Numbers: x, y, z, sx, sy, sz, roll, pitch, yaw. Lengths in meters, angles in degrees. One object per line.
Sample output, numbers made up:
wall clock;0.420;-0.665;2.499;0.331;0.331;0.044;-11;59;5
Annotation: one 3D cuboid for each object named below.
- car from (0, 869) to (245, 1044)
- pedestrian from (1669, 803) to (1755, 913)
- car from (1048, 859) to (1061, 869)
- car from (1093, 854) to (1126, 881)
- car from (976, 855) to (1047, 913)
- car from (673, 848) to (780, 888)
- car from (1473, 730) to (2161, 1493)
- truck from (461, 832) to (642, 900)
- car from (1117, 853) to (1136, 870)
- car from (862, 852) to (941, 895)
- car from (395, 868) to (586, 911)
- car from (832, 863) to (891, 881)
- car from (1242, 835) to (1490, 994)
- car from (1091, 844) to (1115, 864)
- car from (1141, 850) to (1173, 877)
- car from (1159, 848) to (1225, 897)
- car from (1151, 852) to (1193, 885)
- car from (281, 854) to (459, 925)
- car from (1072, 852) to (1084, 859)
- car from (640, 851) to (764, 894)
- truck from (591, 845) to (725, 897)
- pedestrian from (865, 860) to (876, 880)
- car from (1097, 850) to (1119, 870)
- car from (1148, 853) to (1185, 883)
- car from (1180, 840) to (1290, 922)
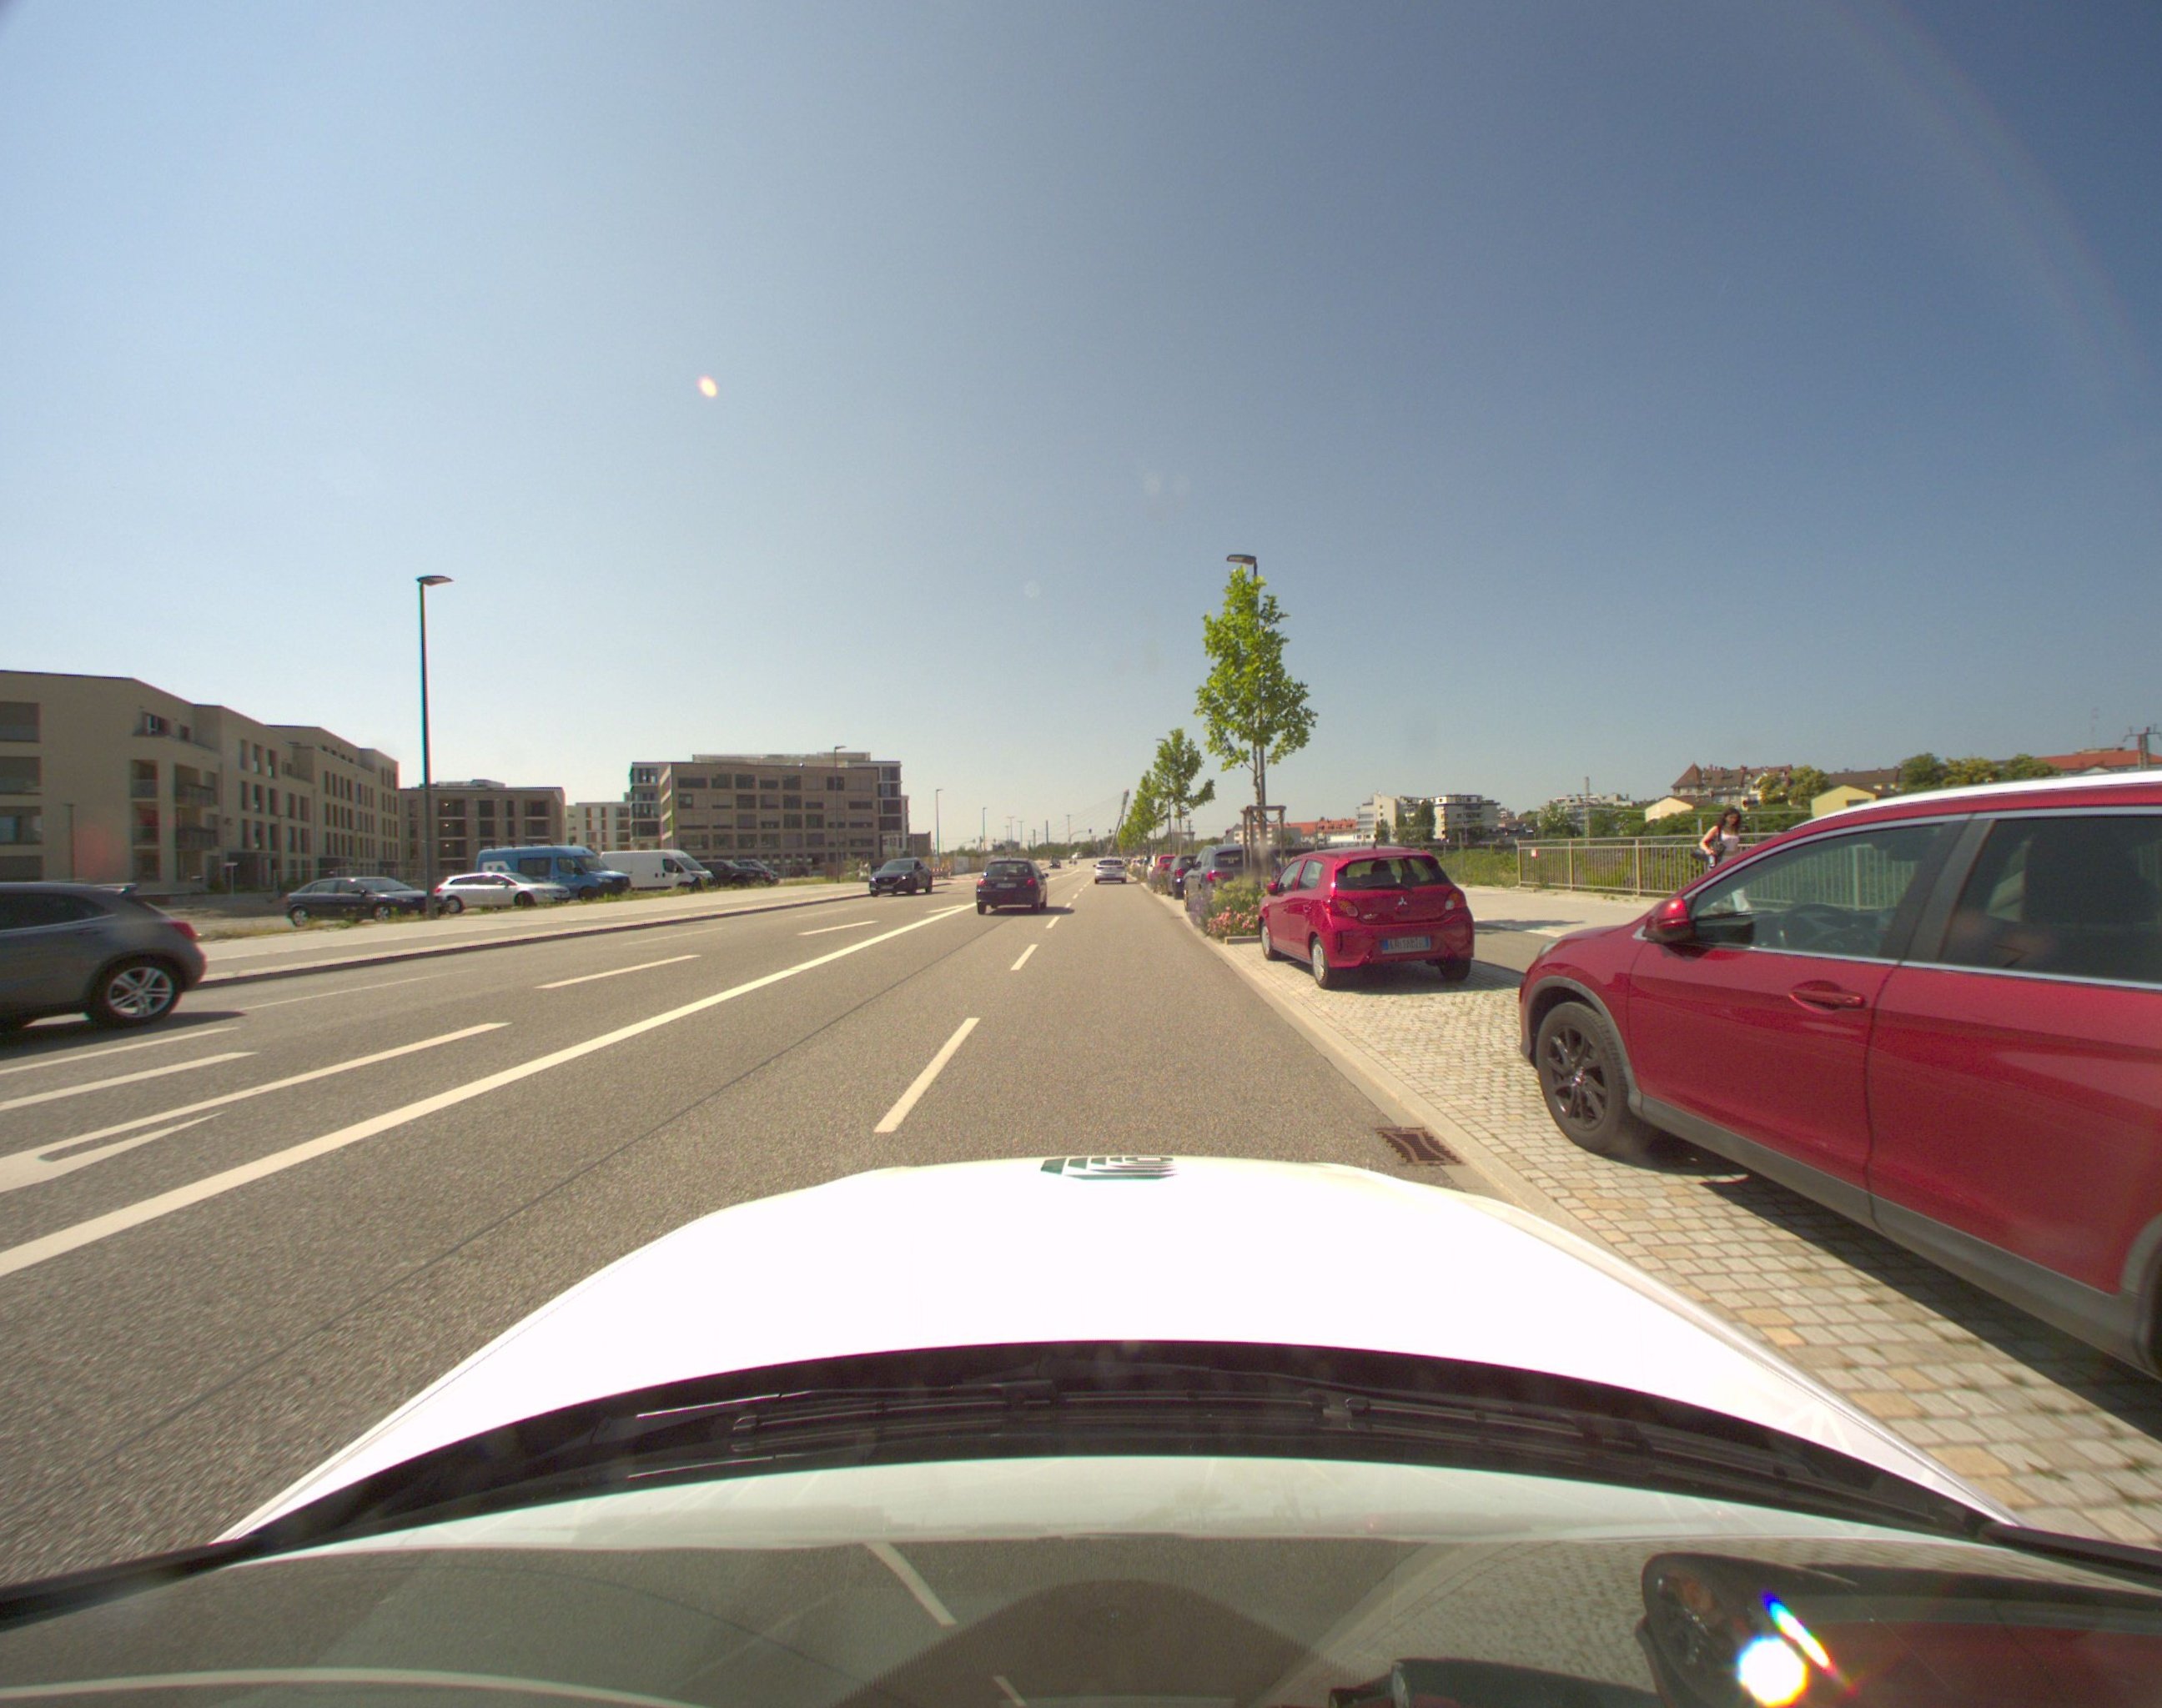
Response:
car;-10.521;0.968;6.967;1.893;1.495;4.395;-3;0;6
pedestrian;10.143;0.068;13.114;0.777;1.705;0.742;-1;-2;2
car;-4.125;1.584;129.077;1.697;1.352;4.458;-2;-1;2
car;1.669;0.731;46.207;1.770;1.442;4.004;-1;0;3
car;-1.812;0.745;22.262;1.614;1.416;3.726;-1;0;0
car;-21.745;0.824;50.163;5.429;2.173;2.393;-2;0;-2
car;3.274;0.507;2.716;1.900;1.616;4.552;-2;0;3
truck;-22.236;0.500;34.398;5.987;2.543;2.274;-2;0;-1
car;4.316;0.669;76.386;1.738;1.509;4.005;-1;0;4
car;-7.472;0.754;34.368;1.893;1.628;4.395;-2;0;6
car;-22.341;1.323;30.994;5.634;1.474;2.106;-1;0;-1
car;-18.259;1.473;67.811;4.264;1.318;1.979;-2;0;-34
car;3.221;0.603;10.029;1.599;1.491;3.816;-3;0;-1
car;1.963;0.020;71.846;1.784;1.750;4.006;0;0;5
car;4.857;0.583;52.046;1.899;1.577;4.163;-2;0;5
car;3.686;0.575;27.621;1.627;1.429;4.241;-3;0;1
car;4.353;0.649;39.353;1.711;1.451;4.002;0;1;2
car;-21.234;1.028;24.396;3.963;1.904;1.832;-2;0;9
car;-0.729;0.354;206.647;1.860;1.649;3.975;0;0;-18
car;-21.616;1.025;46.704;5.866;2.165;2.394;-2;0;-2
truck;-21.486;0.827;41.580;5.548;2.362;2.275;-2;0;0
pedestrian;-18.084;1.389;69.934;0.682;1.684;0.757;0;-2;5
car;2.371;0.528;69.685;1.770;1.569;4.003;0;-1;3
car;4.604;0.722;44.190;1.711;1.524;3.644;-1;0;2
car;3.430;0.557;18.934;1.728;1.608;4.241;-3;0;1
